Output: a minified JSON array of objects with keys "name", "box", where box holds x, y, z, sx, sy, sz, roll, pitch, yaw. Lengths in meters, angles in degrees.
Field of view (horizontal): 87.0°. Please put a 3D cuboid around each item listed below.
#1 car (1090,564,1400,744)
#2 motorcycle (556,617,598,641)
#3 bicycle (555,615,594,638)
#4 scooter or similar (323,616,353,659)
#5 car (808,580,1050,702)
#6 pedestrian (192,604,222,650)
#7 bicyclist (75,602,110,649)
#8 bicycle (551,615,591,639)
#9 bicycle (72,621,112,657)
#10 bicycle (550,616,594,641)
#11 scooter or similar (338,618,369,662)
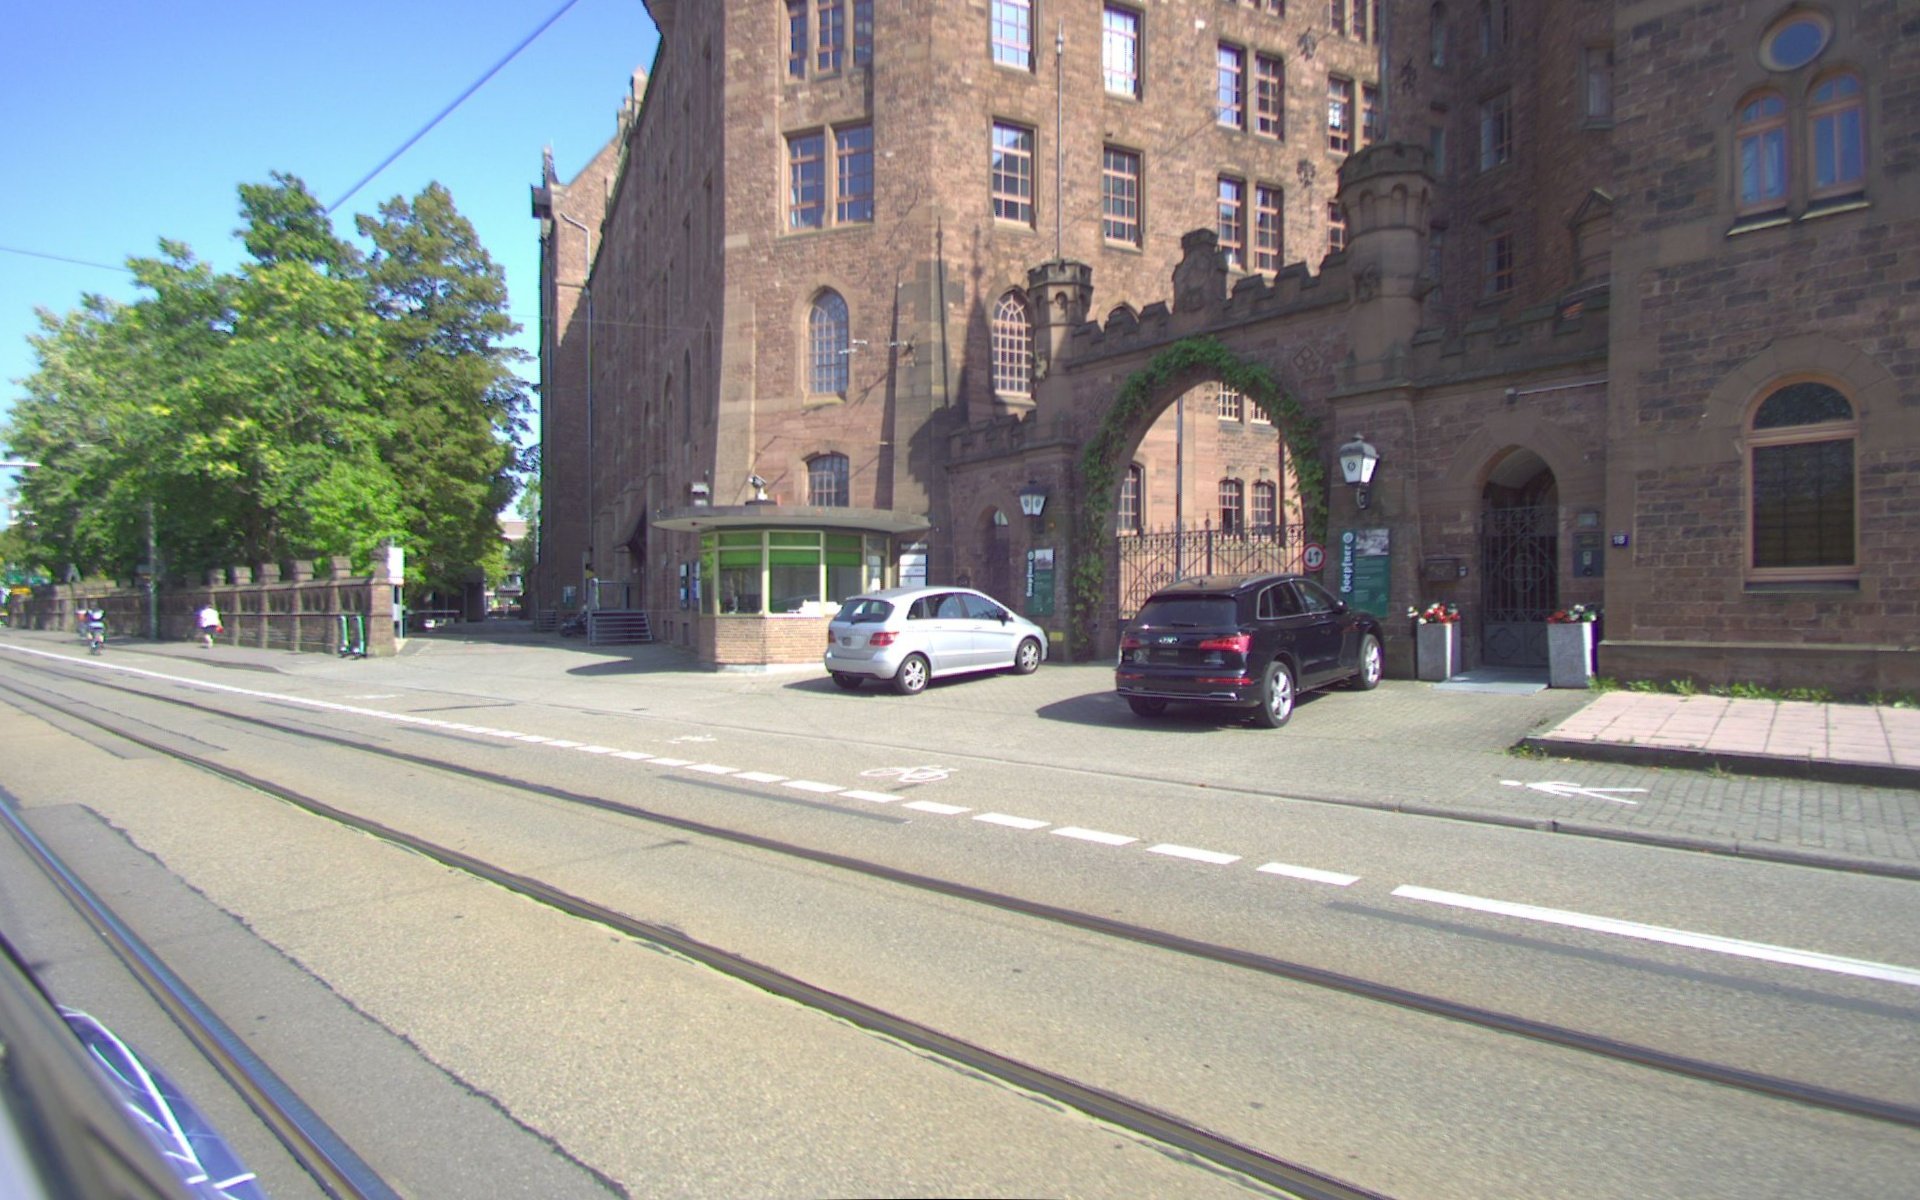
[{"name":"car","box":[3.671,0.500,12.494,1.956,1.657,4.352,-1,3,41]},{"name":"motorcycle","box":[-16.596,1.238,43.834,1.669,1.009,0.584,0,0,-25]},{"name":"bicycle","box":[-17.778,1.214,46.683,1.636,1.054,0.567,0,0,-13]},{"name":"scooter or similar","box":[-17.627,1.047,28.672,0.280,1.157,0.816,0,2,4]},{"name":"car","box":[-0.423,0.593,16.965,1.823,1.607,3.857,-1,3,43]},{"name":"pedestrian","box":[-27.077,0.963,36.403,0.775,1.601,0.708,-1,-1,40]},{"name":"bicyclist","box":[-29.799,0.860,34.751,1.086,1.592,0.690,-1,-2,39]},{"name":"bicycle","box":[-17.621,1.199,45.833,1.636,1.054,0.567,0,0,-13]},{"name":"bicycle","box":[-29.835,1.321,34.779,2.036,1.167,0.690,0,-1,39]},{"name":"bicycle","box":[-17.161,1.245,44.801,1.747,1.054,0.666,0,0,-13]},{"name":"scooter or similar","box":[-16.692,1.088,27.866,0.280,1.157,0.816,0,2,4]}]
